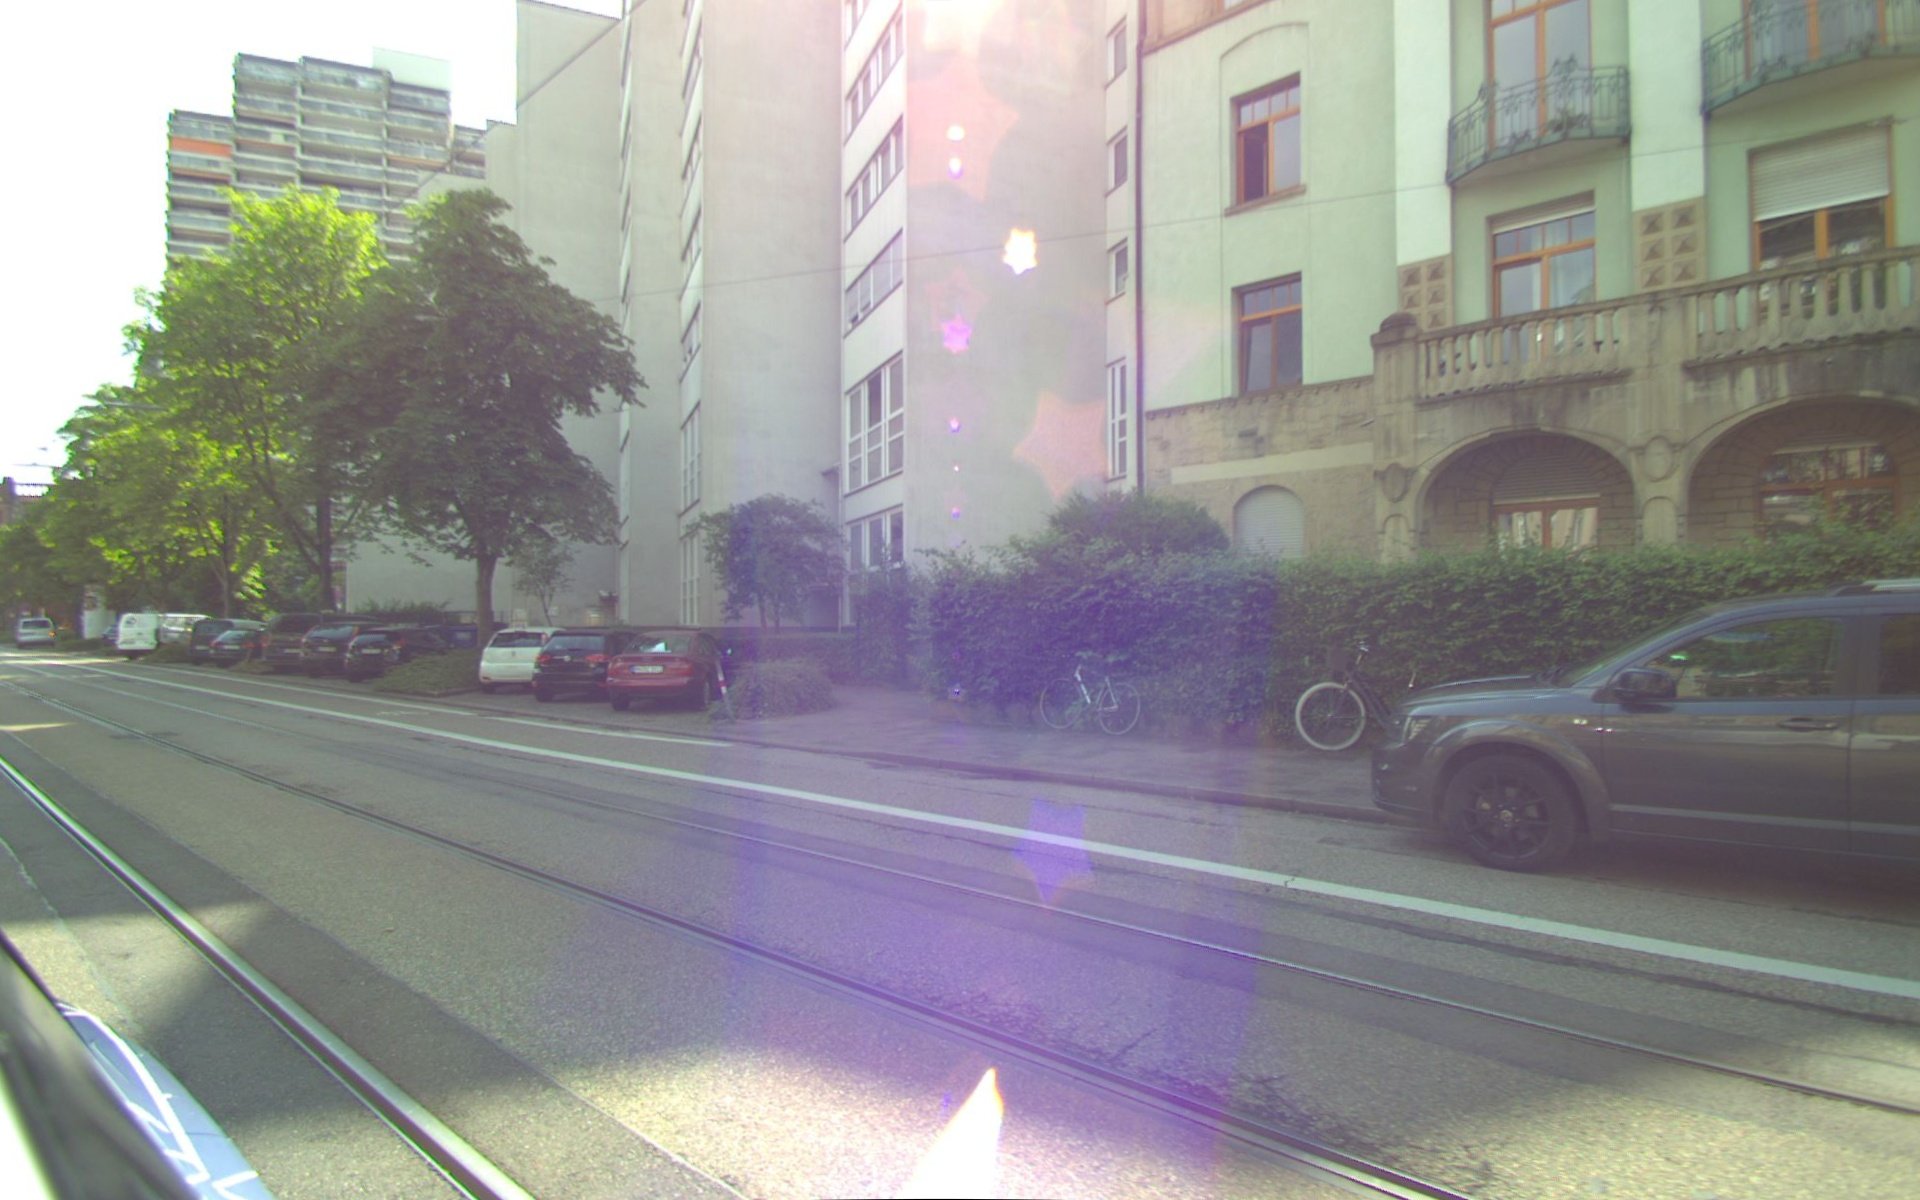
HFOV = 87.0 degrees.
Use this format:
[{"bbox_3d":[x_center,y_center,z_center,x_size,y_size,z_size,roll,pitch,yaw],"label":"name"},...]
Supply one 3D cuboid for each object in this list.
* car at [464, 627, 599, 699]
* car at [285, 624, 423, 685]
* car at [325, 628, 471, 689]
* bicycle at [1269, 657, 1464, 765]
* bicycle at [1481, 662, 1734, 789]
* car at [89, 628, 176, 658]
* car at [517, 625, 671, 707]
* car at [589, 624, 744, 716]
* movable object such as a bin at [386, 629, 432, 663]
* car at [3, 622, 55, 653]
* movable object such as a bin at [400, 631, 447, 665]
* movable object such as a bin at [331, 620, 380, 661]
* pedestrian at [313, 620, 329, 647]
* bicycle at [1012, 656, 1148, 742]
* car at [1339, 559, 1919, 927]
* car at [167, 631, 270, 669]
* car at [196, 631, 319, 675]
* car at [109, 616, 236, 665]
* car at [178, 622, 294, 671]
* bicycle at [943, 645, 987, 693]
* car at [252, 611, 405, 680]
[{"bbox_3d":[-9.822,1.458,23.514,1.672,1.495,3.810,2,-3,-4],"label":"car"},{"bbox_3d":[-17.509,1.595,29.489,1.715,1.605,4.002,1,-3,-3],"label":"car"},{"bbox_3d":[-15.056,1.575,27.368,1.716,1.495,4.000,1,-3,-1],"label":"car"},{"bbox_3d":[4.092,1.092,10.311,1.810,0.966,0.378,-2,-1,44],"label":"bicycle"},{"bbox_3d":[5.630,1.057,8.893,1.810,0.966,0.378,-2,-1,44],"label":"bicycle"},{"bbox_3d":[-44.198,2.268,54.139,1.716,1.535,3.889,0,-1,-5],"label":"car"},{"bbox_3d":[-7.464,1.356,21.028,1.675,1.495,3.804,1,-3,2],"label":"car"},{"bbox_3d":[-5.329,1.283,18.916,1.820,1.495,3.971,1,-3,-2],"label":"car"},{"bbox_3d":[-22.457,1.883,41.262,1.441,1.337,1.152,-1,-5,41],"label":"movable object such as a bin"},{"bbox_3d":[-60.435,2.428,65.656,4.232,1.865,1.869,-1,1,39],"label":"car"},{"bbox_3d":[-21.352,1.897,40.290,1.441,1.293,1.156,-1,-5,41],"label":"movable object such as a bin"},{"bbox_3d":[-27.480,1.853,46.015,1.537,1.795,1.374,-1,-5,38],"label":"movable object such as a bin"},{"bbox_3d":[-39.004,2.016,61.776,0.660,1.636,0.635,0,-1,34],"label":"pedestrian"},{"bbox_3d":[1.469,1.206,12.648,1.810,0.966,0.378,-2,-1,44],"label":"bicycle"},{"bbox_3d":[4.941,0.718,5.800,4.878,1.776,1.767,-2,-2,39],"label":"car"},{"bbox_3d":[-29.834,2.017,40.871,1.694,1.428,4.008,2,-3,-10],"label":"car"},{"bbox_3d":[-24.738,1.873,35.822,1.734,1.428,4.003,2,-3,-4],"label":"car"},{"bbox_3d":[-34.481,1.756,44.527,1.941,2.012,4.685,0,-2,0],"label":"car"},{"bbox_3d":[-27.176,1.785,38.151,1.735,1.706,3.716,1,-3,-2],"label":"car"},{"bbox_3d":[0.098,1.550,23.057,0.377,0.986,1.722,-1,-1,-21],"label":"bicycle"},{"bbox_3d":[-19.820,1.476,32.099,1.888,1.969,5.173,2,-3,-4],"label":"car"}]
